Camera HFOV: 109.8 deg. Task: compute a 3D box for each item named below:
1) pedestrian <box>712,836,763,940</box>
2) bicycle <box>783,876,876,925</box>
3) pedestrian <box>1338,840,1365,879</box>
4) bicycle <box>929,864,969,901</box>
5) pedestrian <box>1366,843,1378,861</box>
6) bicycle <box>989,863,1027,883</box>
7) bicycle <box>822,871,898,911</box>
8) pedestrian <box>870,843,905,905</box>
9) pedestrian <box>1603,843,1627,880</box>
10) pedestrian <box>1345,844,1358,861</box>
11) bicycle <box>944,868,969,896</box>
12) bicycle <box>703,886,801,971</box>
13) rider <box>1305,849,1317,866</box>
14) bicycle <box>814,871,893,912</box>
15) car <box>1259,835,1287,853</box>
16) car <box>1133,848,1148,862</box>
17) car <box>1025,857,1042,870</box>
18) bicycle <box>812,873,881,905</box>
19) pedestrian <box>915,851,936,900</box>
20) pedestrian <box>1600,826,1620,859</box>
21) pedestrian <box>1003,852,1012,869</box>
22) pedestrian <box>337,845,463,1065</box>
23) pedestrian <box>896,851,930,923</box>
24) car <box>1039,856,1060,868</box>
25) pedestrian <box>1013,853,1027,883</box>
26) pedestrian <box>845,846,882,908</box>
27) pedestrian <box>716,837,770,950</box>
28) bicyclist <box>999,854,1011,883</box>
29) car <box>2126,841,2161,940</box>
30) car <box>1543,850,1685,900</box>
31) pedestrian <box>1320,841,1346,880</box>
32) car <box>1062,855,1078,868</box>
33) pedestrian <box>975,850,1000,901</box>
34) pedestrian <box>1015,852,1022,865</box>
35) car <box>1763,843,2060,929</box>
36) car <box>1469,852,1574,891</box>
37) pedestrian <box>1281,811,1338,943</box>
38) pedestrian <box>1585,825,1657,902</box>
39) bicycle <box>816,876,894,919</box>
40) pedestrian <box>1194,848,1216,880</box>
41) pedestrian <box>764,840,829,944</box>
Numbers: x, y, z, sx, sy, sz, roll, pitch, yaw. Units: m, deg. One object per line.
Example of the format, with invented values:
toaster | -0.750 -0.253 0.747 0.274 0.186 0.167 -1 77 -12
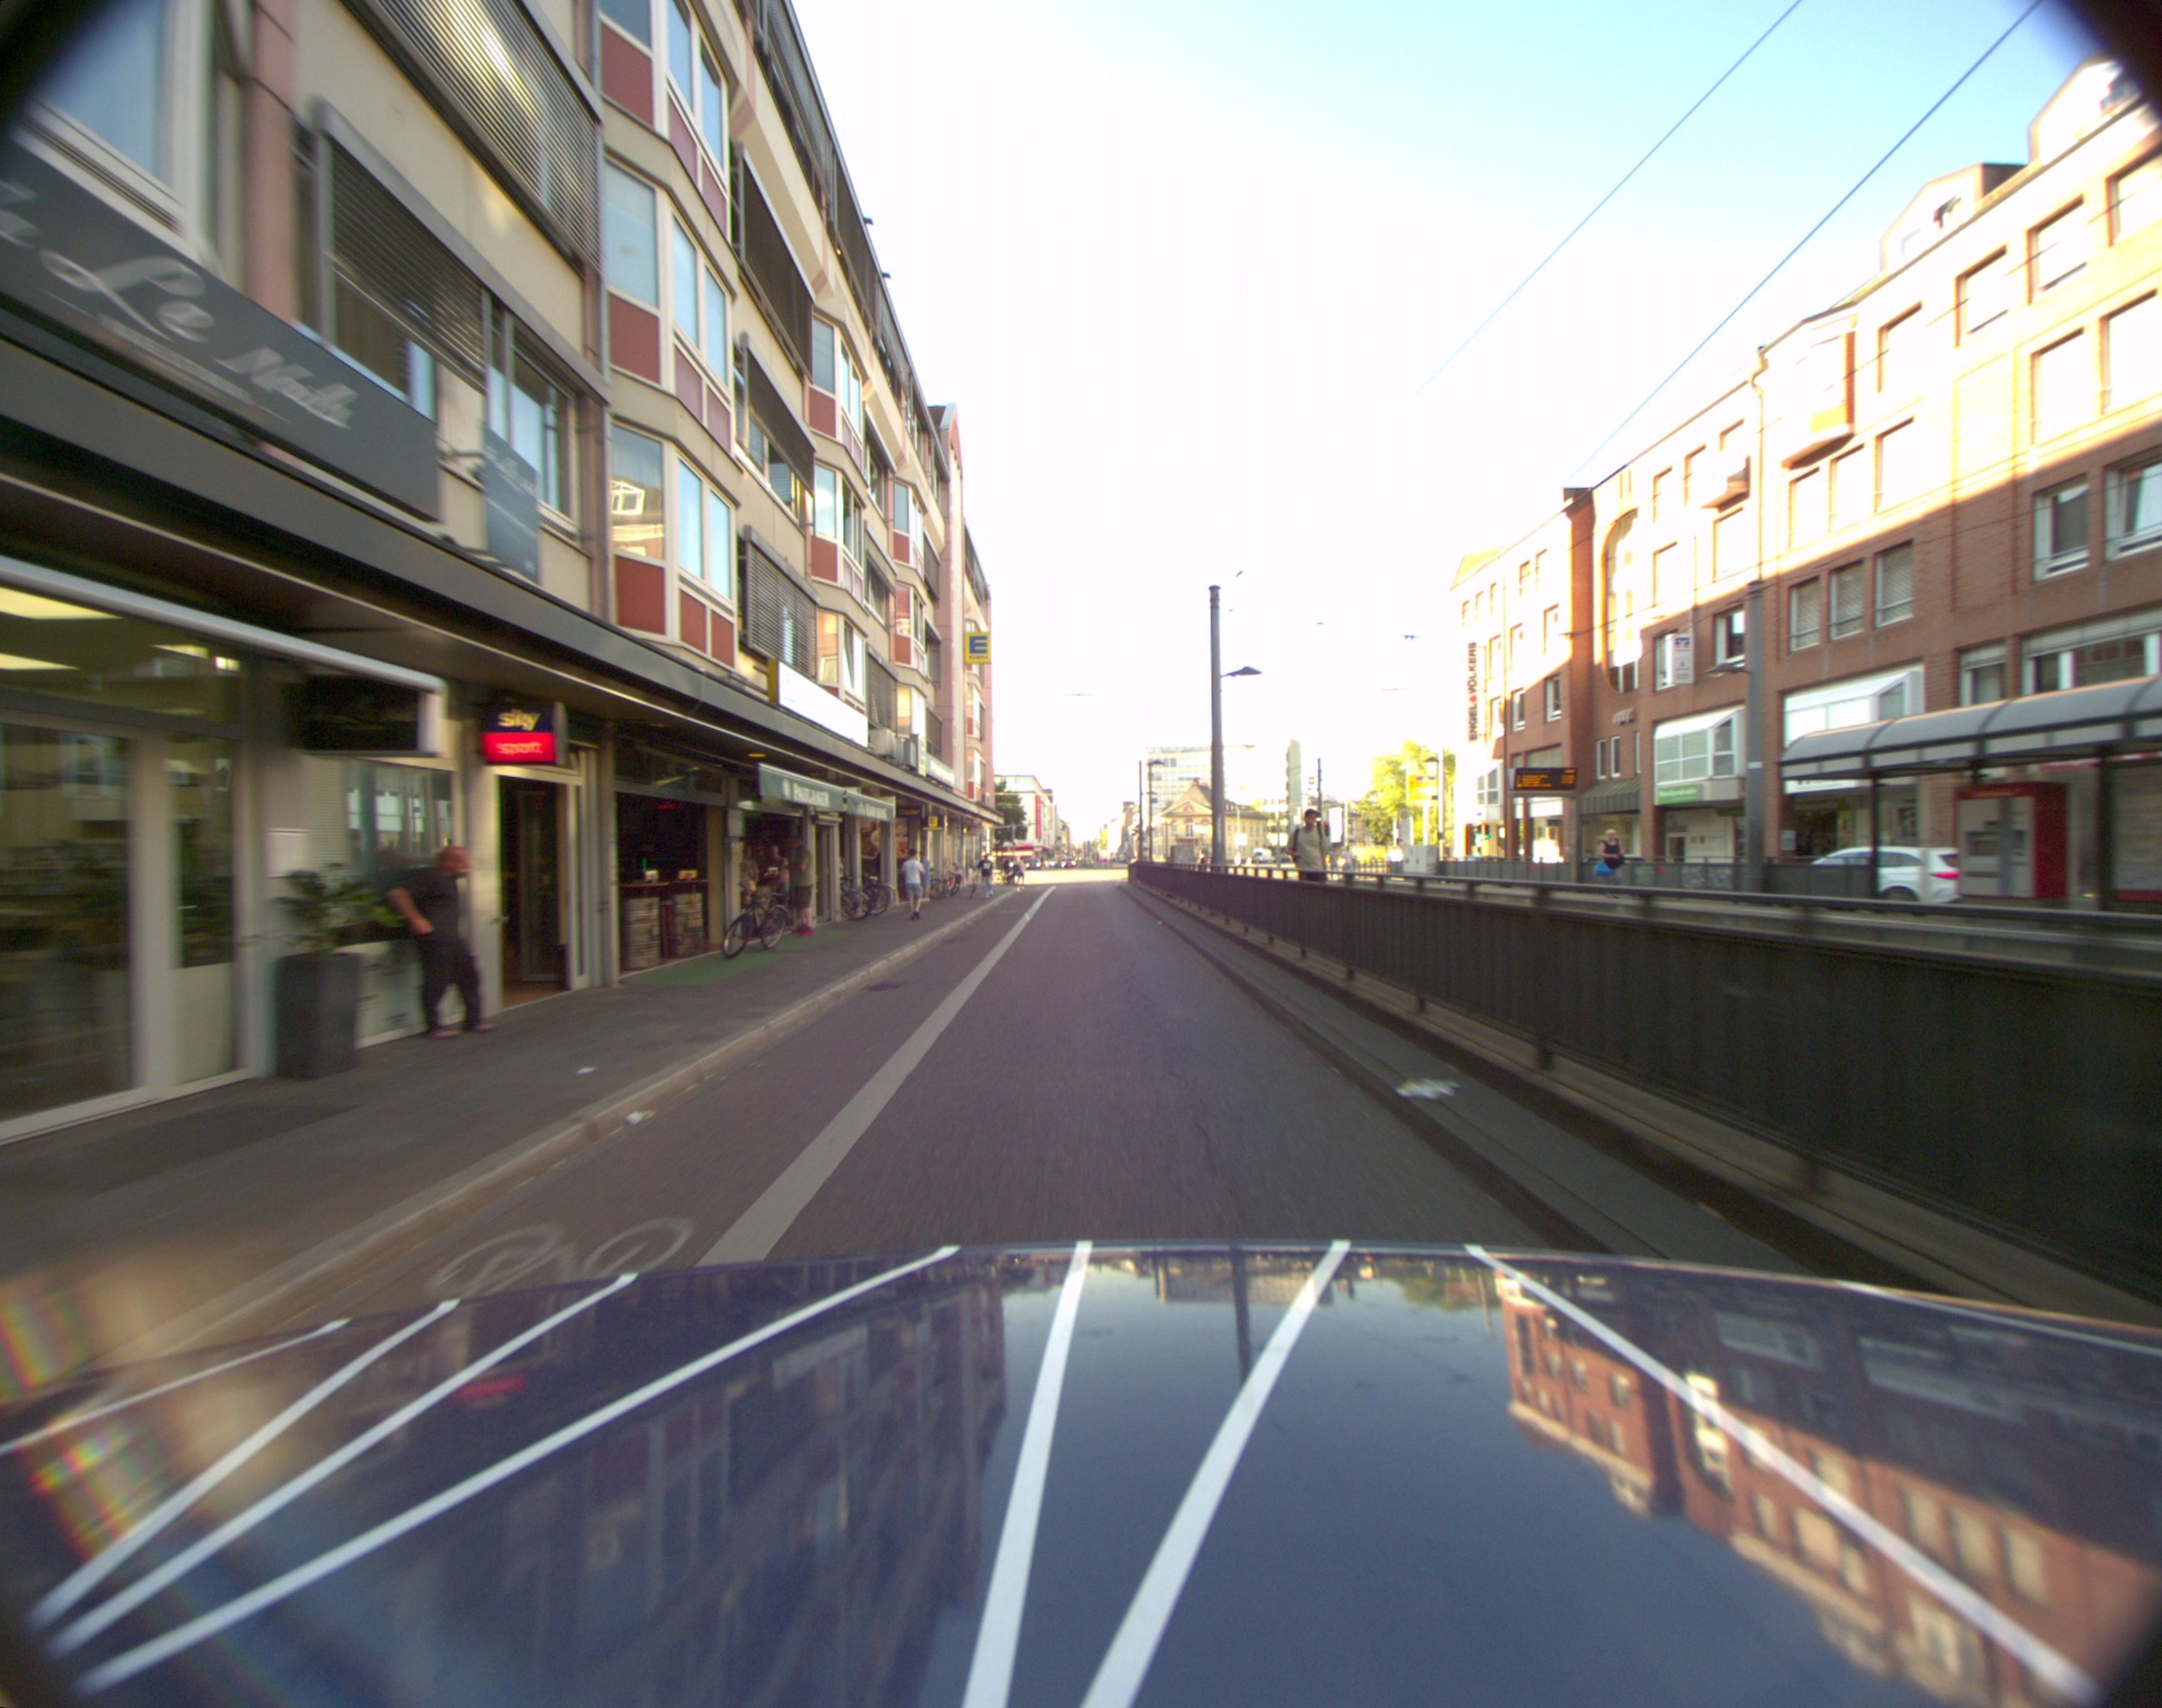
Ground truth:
pedestrian | -6.358 0.608 14.061 0.781 1.856 0.685 0 2 -31
bicycle | -5.700 1.054 17.284 1.929 1.054 0.576 1 1 0
pedestrian | 12.873 0.254 36.185 0.860 1.757 0.811 -4 1 -4
bicycle | -4.593 0.966 26.528 0.800 1.169 1.634 3 1 11
pedestrian | 34.883 -0.229 91.085 1.011 2.002 0.991 -3 1 34
bicycle | -4.263 1.109 44.503 2.176 1.117 0.768 -1 1 -4
bicycle | -6.103 1.012 21.071 1.929 1.054 0.576 1 1 -3
pedestrian | -5.779 0.573 22.670 0.734 1.805 0.805 -2 1 -37
pedestrian | 23.795 0.333 33.879 0.613 1.652 0.637 -1 1 -1
pedestrian | 32.494 -0.169 91.330 1.073 2.002 0.989 -3 1 4
bicycle | -4.801 1.058 29.379 0.678 0.971 1.842 3 1 -3
bicycle | -4.904 1.072 11.444 0.659 1.061 1.794 3 1 -1
rider | 27.749 0.455 91.720 1.011 2.002 1.022 -3 1 34
bicycle | -6.096 1.014 20.410 1.929 1.054 0.576 1 1 -3
car | 33.800 -1.773 133.624 2.535 3.031 6.386 2 3 37
car | 10.724 0.120 137.056 2.540 2.440 5.424 -2 0 5
car | -6.077 1.196 97.739 1.972 1.664 4.874 -2 0 -3
bicycle | -7.158 1.073 23.239 1.929 0.933 0.576 1 1 -3
pedestrian | -5.056 0.697 24.732 0.407 1.586 0.462 3 1 28
pedestrian | 27.227 -0.600 39.103 0.613 1.652 0.637 -1 1 -1
pedestrian | -8.674 0.749 89.490 0.747 2.002 1.070 -4 1 -13
pedestrian | -5.355 0.765 6.001 0.543 1.664 0.468 0 1 -9
pedestrian | -3.976 0.762 18.054 0.634 1.664 0.771 0 1 0
car | -4.835 1.170 115.221 1.974 1.664 4.868 -2 0 -17
pedestrian | -3.422 0.770 42.549 0.637 1.652 0.768 3 1 -9
pedestrian | -6.029 0.623 21.097 0.779 1.654 0.917 1 1 -2
pedestrian | -5.743 0.654 12.939 0.780 1.856 0.686 0 1 -20
bicyclist | -4.460 0.841 44.485 0.637 1.668 0.768 -1 1 -4
car | 18.268 0.656 10.416 1.914 1.585 4.289 0 2 1
car | 18.145 0.670 26.135 1.897 1.590 4.196 0 0 -1
pedestrian | 11.973 0.310 36.118 0.860 1.757 0.811 -4 1 -5
car | -1.445 0.982 101.778 1.971 1.664 4.875 -2 0 0
pedestrian | -3.401 0.771 27.642 0.807 1.805 0.732 -1 1 -3
pedestrian | -7.947 0.564 96.879 0.860 1.700 1.051 -2 1 -5
car | 18.111 0.598 16.961 1.914 1.585 4.289 0 2 1
car | 18.228 0.675 31.698 1.906 1.520 4.120 0 0 -1
pedestrian | 3.187 0.308 10.638 0.584 1.781 0.606 -1 1 -2
pedestrian | 12.034 0.197 16.968 0.913 1.652 0.967 -1 1 -1
bicycle | -5.531 1.057 18.645 1.734 0.968 0.506 2 1 5
pedestrian | 7.244 0.561 44.292 0.812 1.793 0.859 -4 1 -29
pedestrian | -5.194 0.674 13.909 0.917 1.856 0.779 1 1 -3
